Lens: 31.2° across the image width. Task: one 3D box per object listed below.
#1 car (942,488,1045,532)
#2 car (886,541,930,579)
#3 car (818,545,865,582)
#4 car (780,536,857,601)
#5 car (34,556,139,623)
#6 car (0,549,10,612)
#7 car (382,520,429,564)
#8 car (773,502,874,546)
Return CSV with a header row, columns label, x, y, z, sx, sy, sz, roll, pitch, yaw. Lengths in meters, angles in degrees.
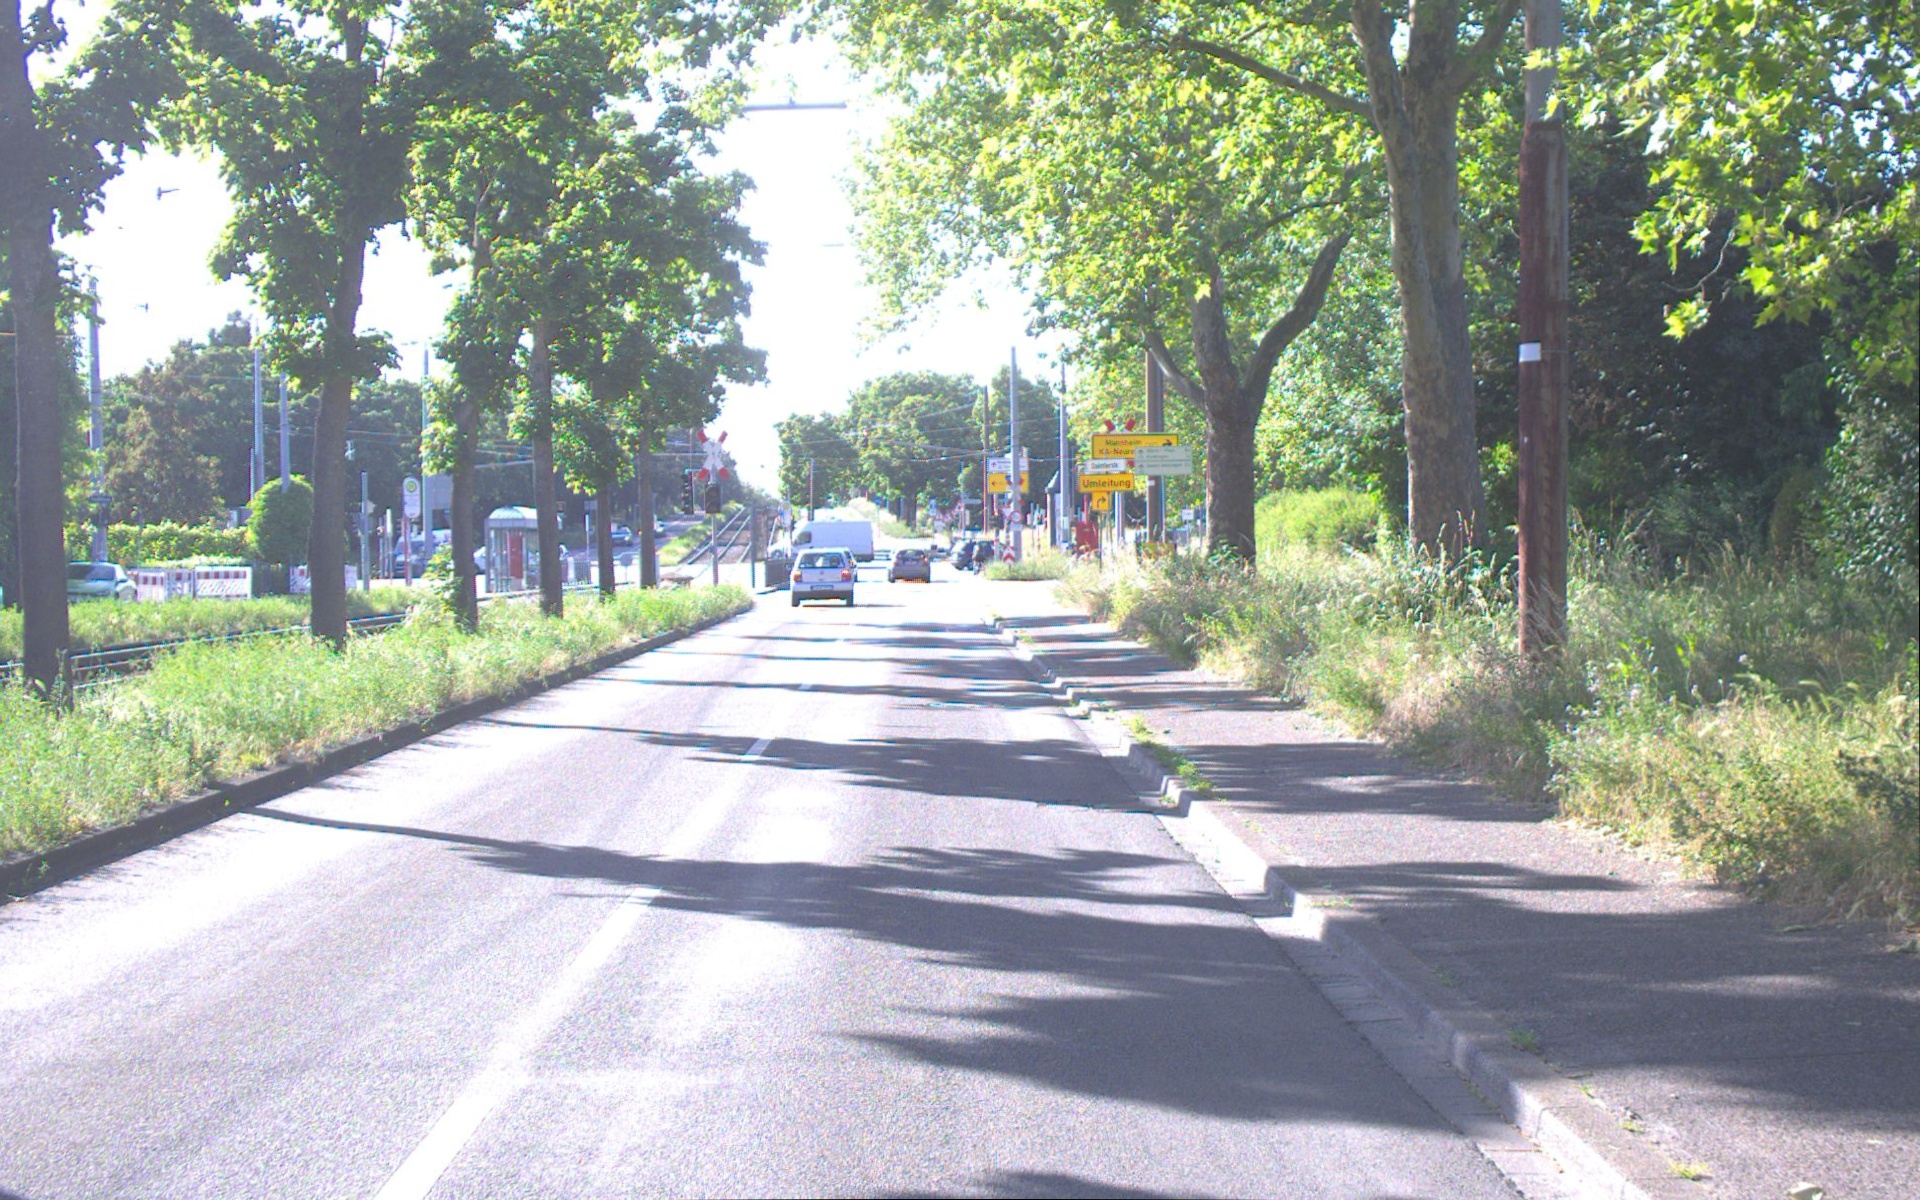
label,x,y,z,sx,sy,sz,roll,pitch,yaw
car,1.783,-4.831,184.326,5.147,2.267,2.001,0,1,-25
car,-2.219,-1.716,145.901,1.791,1.554,4.228,1,1,-1
car,-5.202,-1.610,151.216,1.993,1.598,4.474,1,1,-1
car,-3.588,-0.813,87.873,1.860,1.595,4.228,1,1,-1
car,-23.076,-0.297,90.961,1.778,1.701,4.228,1,1,-1
car,-22.452,-0.426,75.775,1.860,1.426,4.462,1,1,-1
car,-30.064,-3.134,186.574,2.088,2.346,5.262,1,1,-4
car,-7.524,-4.190,189.814,5.242,2.346,1.866,0,1,-24
